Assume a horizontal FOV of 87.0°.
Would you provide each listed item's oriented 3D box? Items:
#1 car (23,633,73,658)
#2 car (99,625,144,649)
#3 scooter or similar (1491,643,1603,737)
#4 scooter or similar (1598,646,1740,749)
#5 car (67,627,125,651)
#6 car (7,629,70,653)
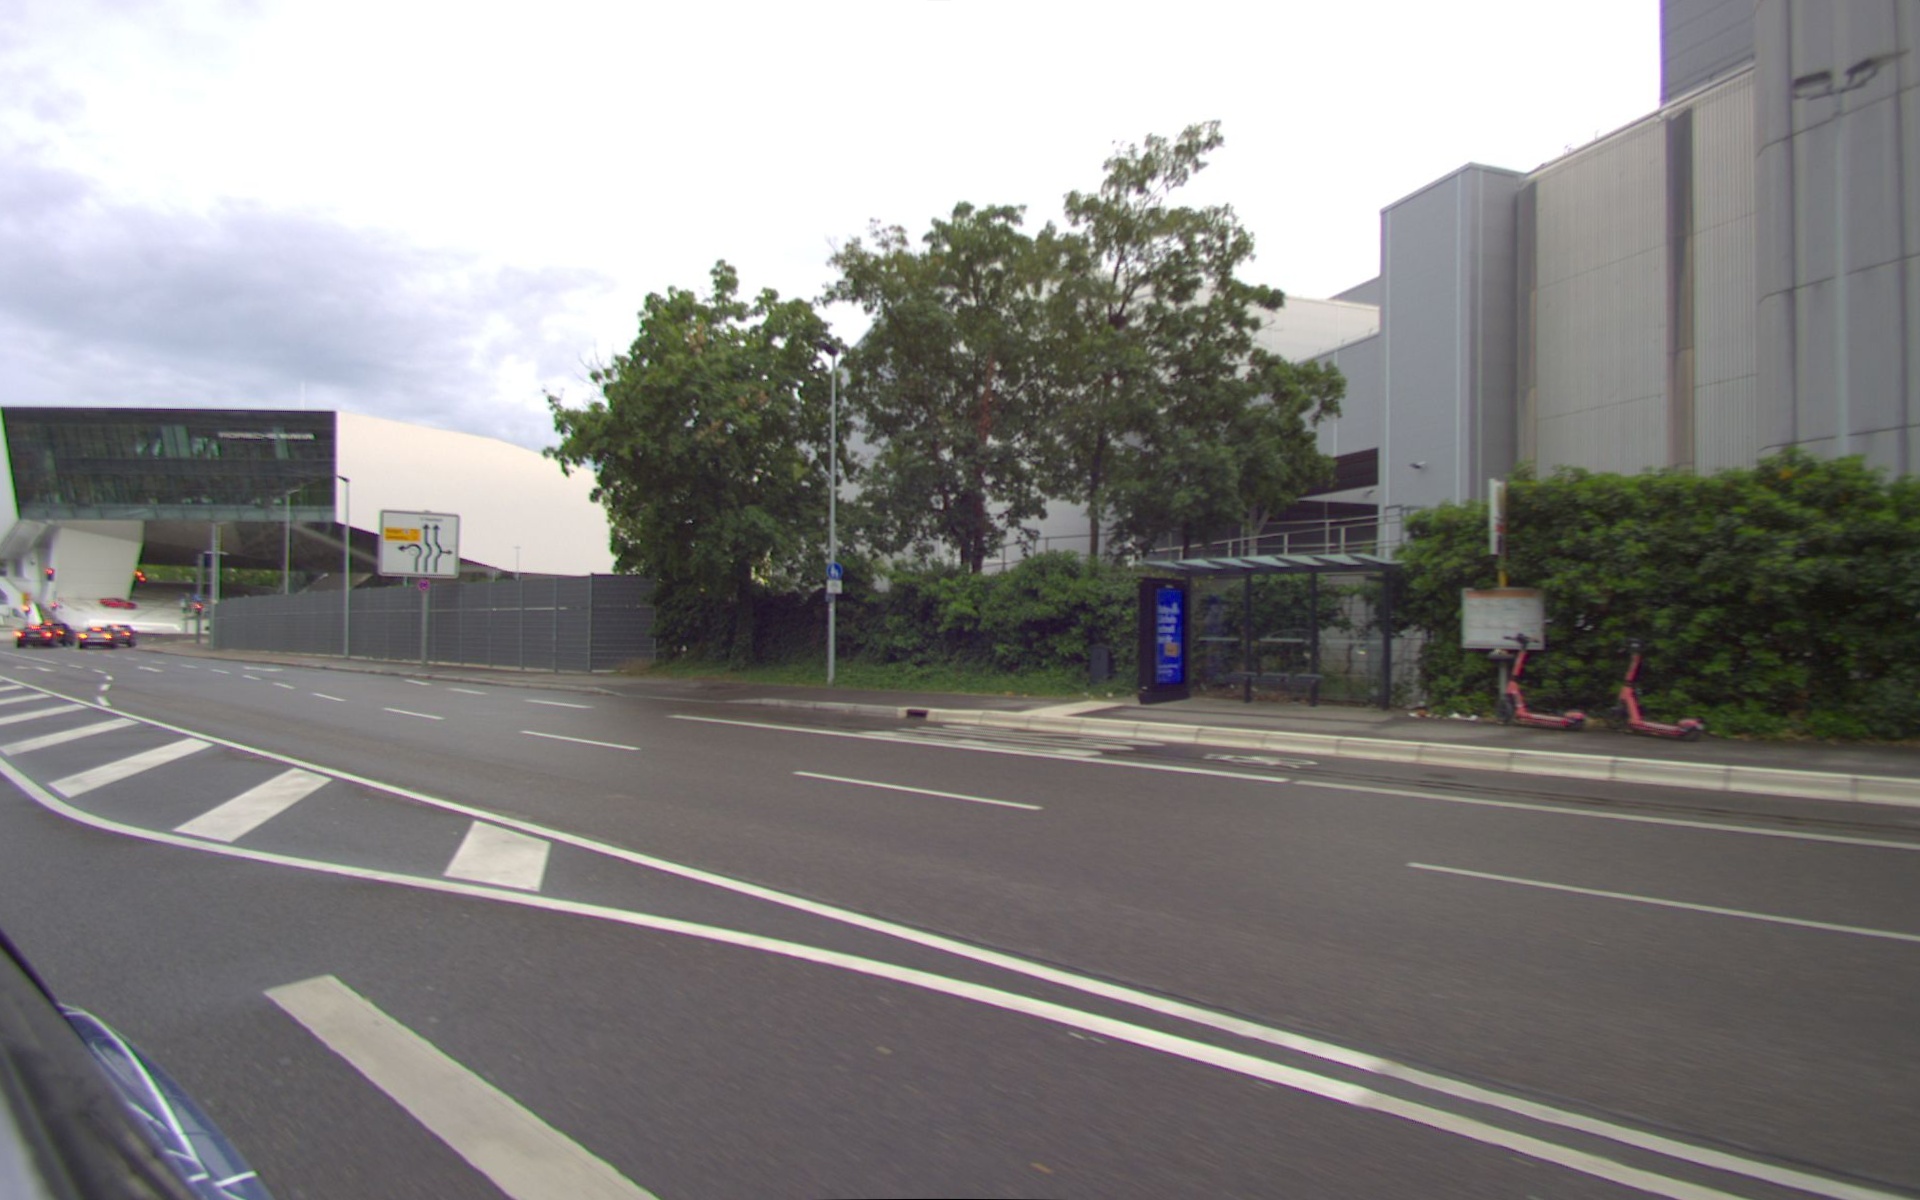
[{"bbox_3d":[-62.128,3.083,68.993,1.850,1.663,3.863,1,-2,-33],"label":"car"},{"bbox_3d":[-59.594,2.630,71.972,1.834,1.663,3.799,1,-2,-30],"label":"car"},{"bbox_3d":[7.888,1.186,13.640,0.383,1.189,1.253,1,-2,-35],"label":"scooter or similar"},{"bbox_3d":[8.804,1.175,12.611,0.373,1.190,1.381,1,-2,-35],"label":"scooter or similar"},{"bbox_3d":[-55.889,2.525,65.532,2.233,1.488,4.059,1,-2,-31],"label":"car"},{"bbox_3d":[-58.941,2.600,64.815,2.221,1.488,3.890,1,-2,-31],"label":"car"}]
